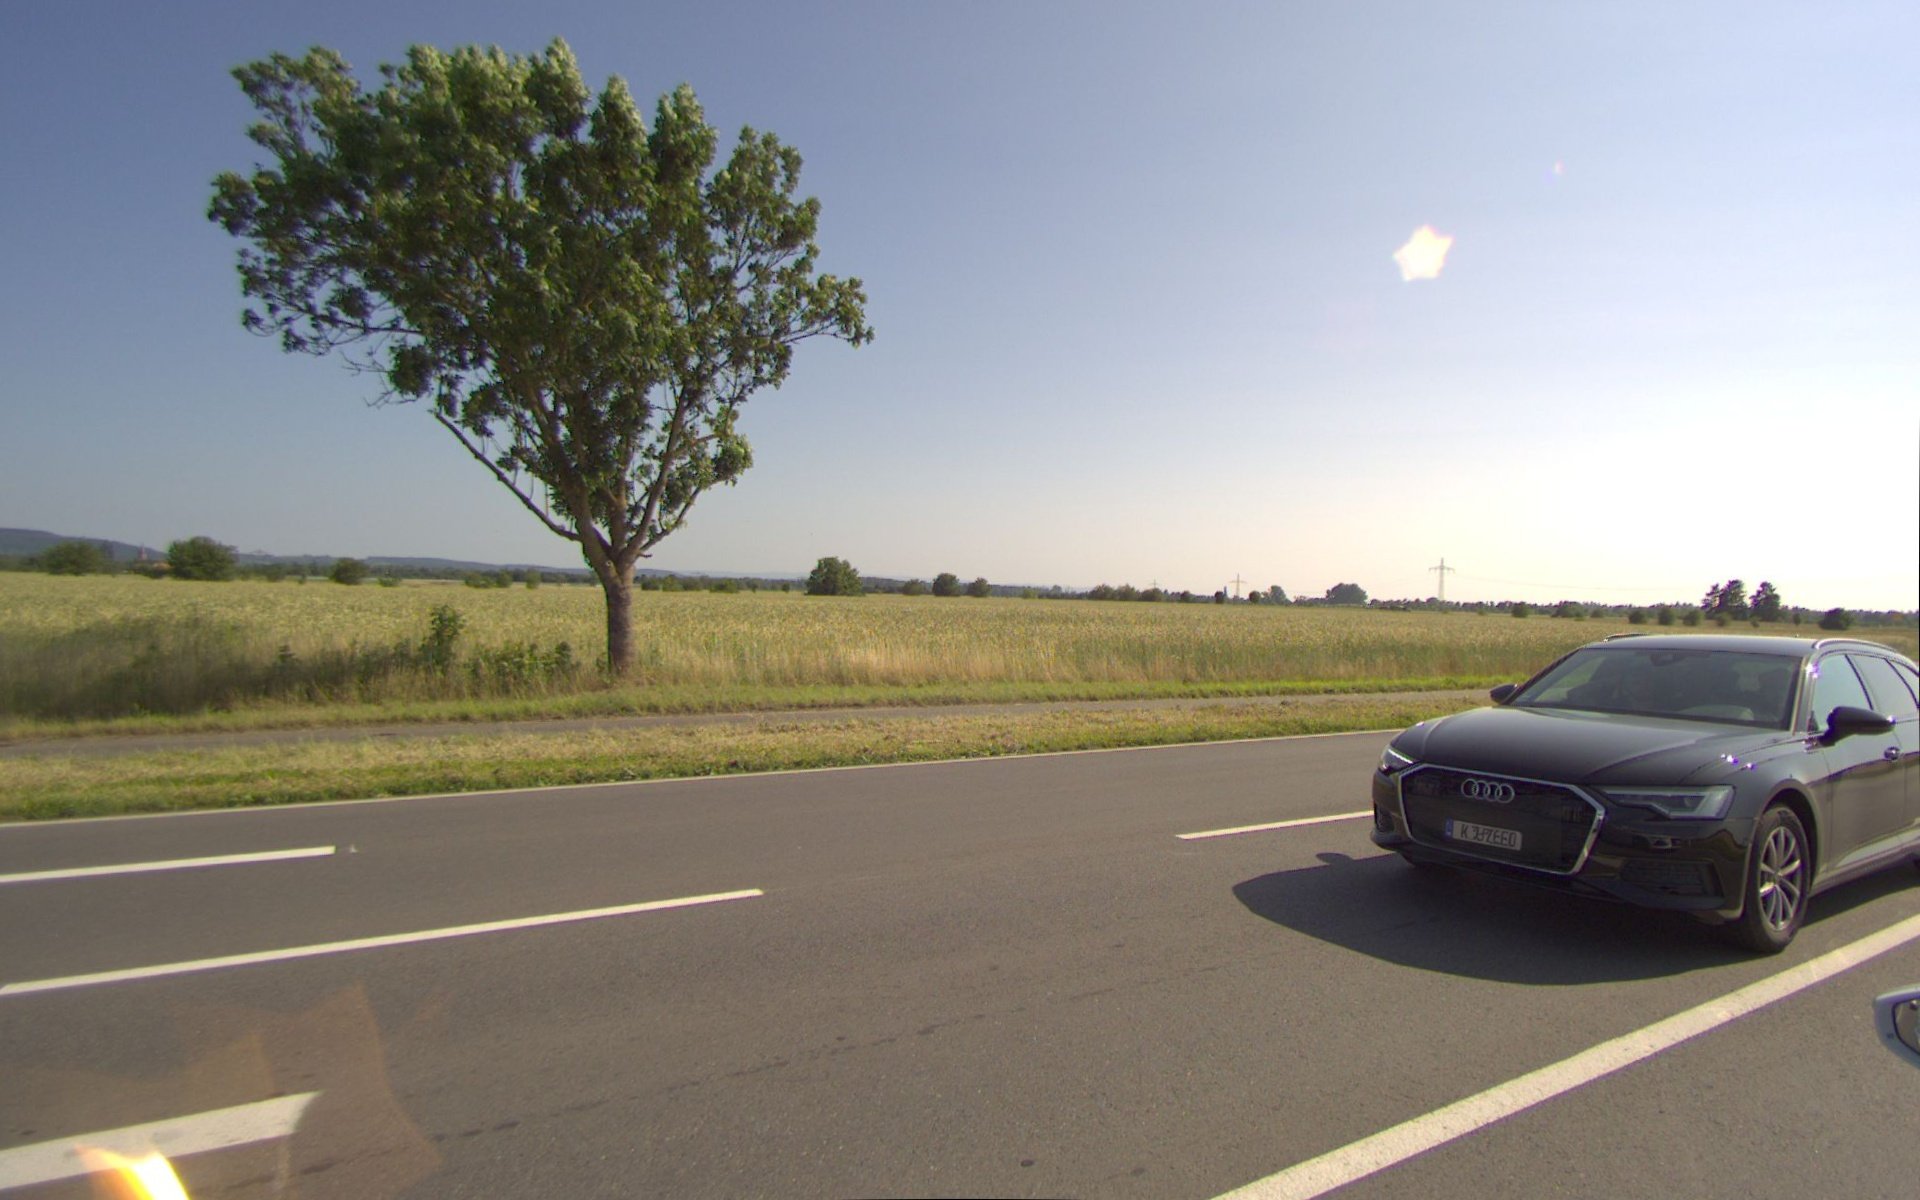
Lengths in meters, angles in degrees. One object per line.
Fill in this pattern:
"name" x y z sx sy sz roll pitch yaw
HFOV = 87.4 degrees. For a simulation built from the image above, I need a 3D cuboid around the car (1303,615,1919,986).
"car" 4.435 0.892 6.128 4.744 1.455 1.879 2 -1 -33
